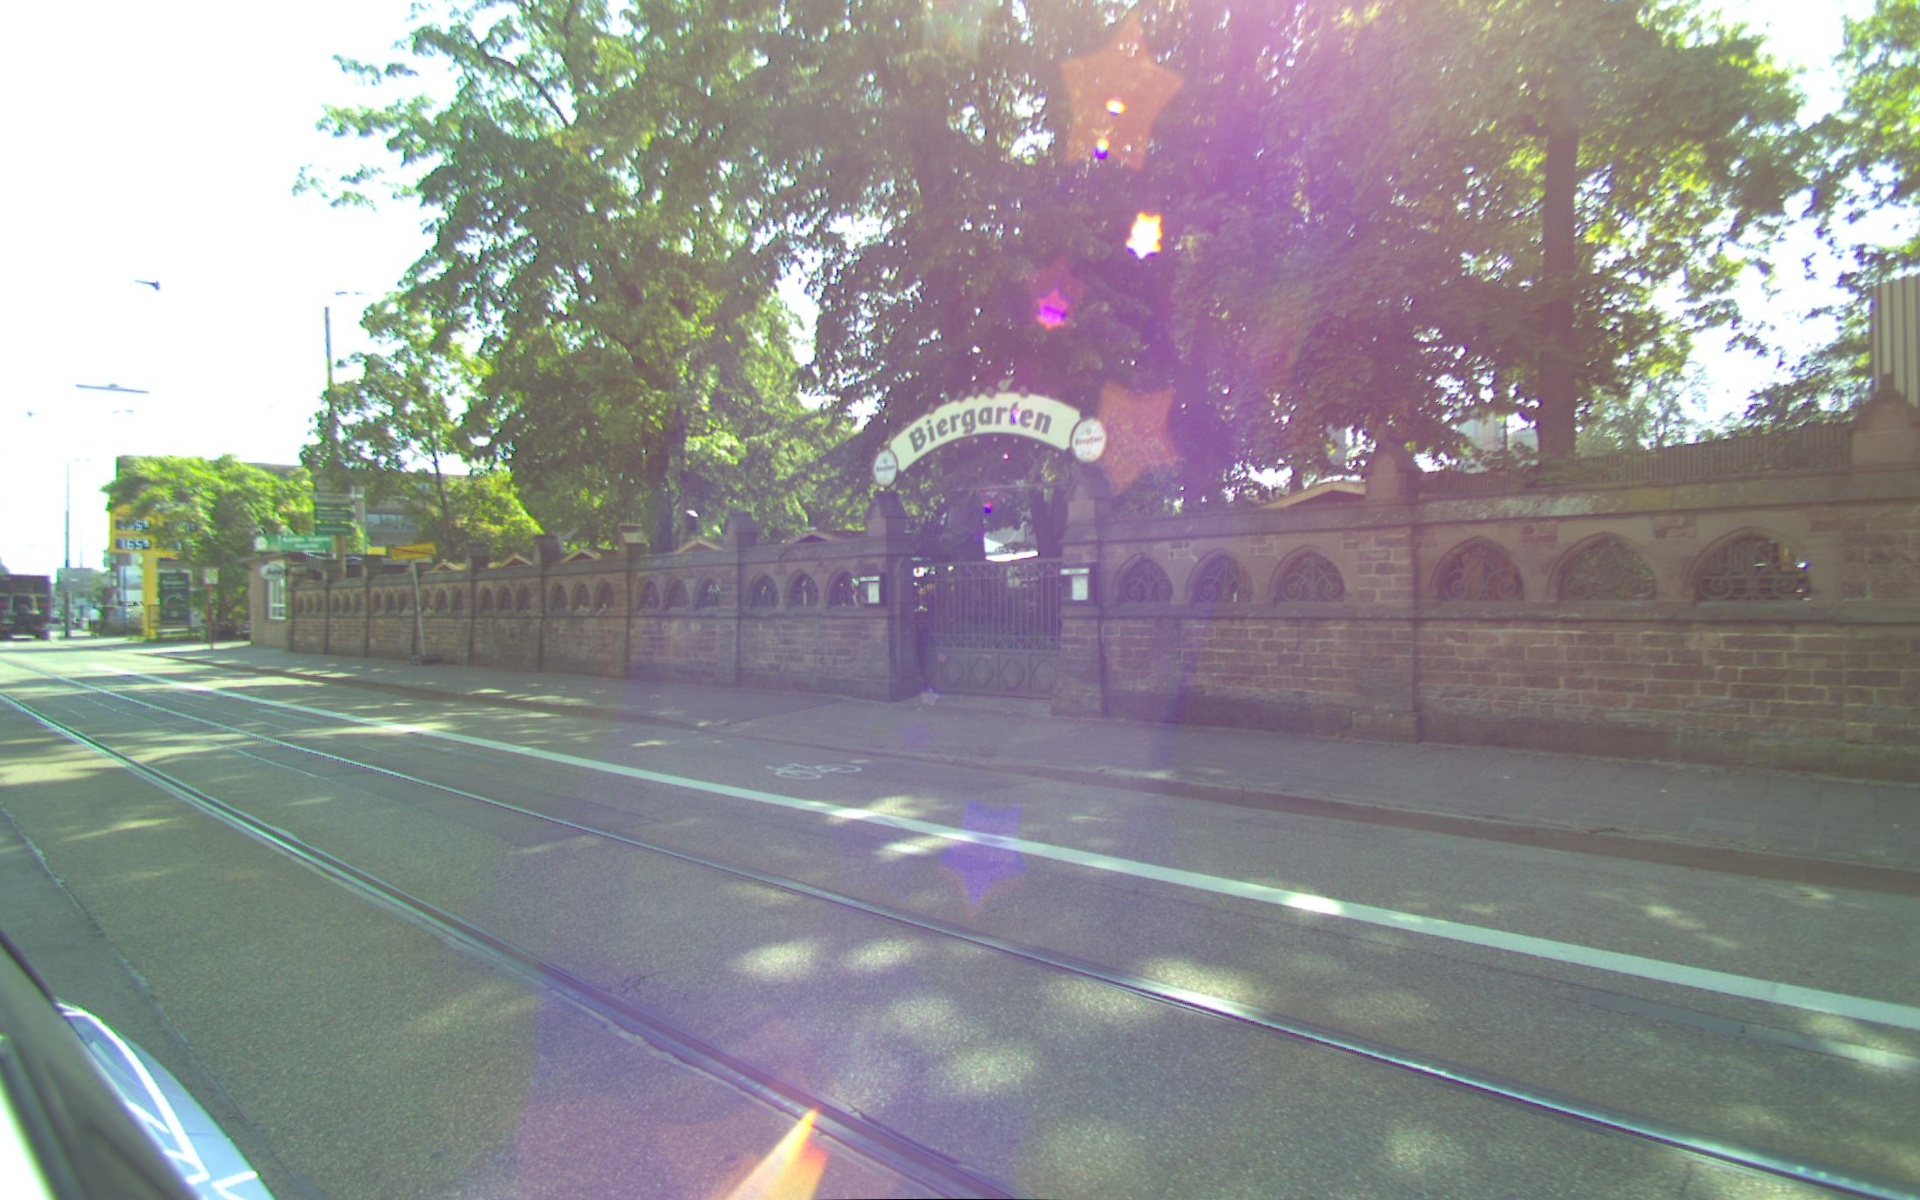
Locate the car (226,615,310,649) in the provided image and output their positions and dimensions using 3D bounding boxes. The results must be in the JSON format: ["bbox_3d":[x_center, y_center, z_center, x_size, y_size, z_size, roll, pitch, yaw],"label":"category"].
[{"bbox_3d":[-33.448,1.499,49.056,1.905,1.472,4.540,-1,0,-14],"label":"car"}]

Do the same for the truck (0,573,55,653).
[{"bbox_3d":[-59.568,0.824,64.210,3.126,4.487,16.861,-1,0,-42],"label":"truck"}]

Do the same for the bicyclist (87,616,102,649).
[{"bbox_3d":[-52.308,1.968,61.155,0.633,1.944,1.178,-1,0,-38],"label":"bicyclist"}]

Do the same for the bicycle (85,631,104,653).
[{"bbox_3d":[-52.312,2.561,61.182,0.775,1.250,2.038,-1,-3,-37],"label":"bicycle"}]
